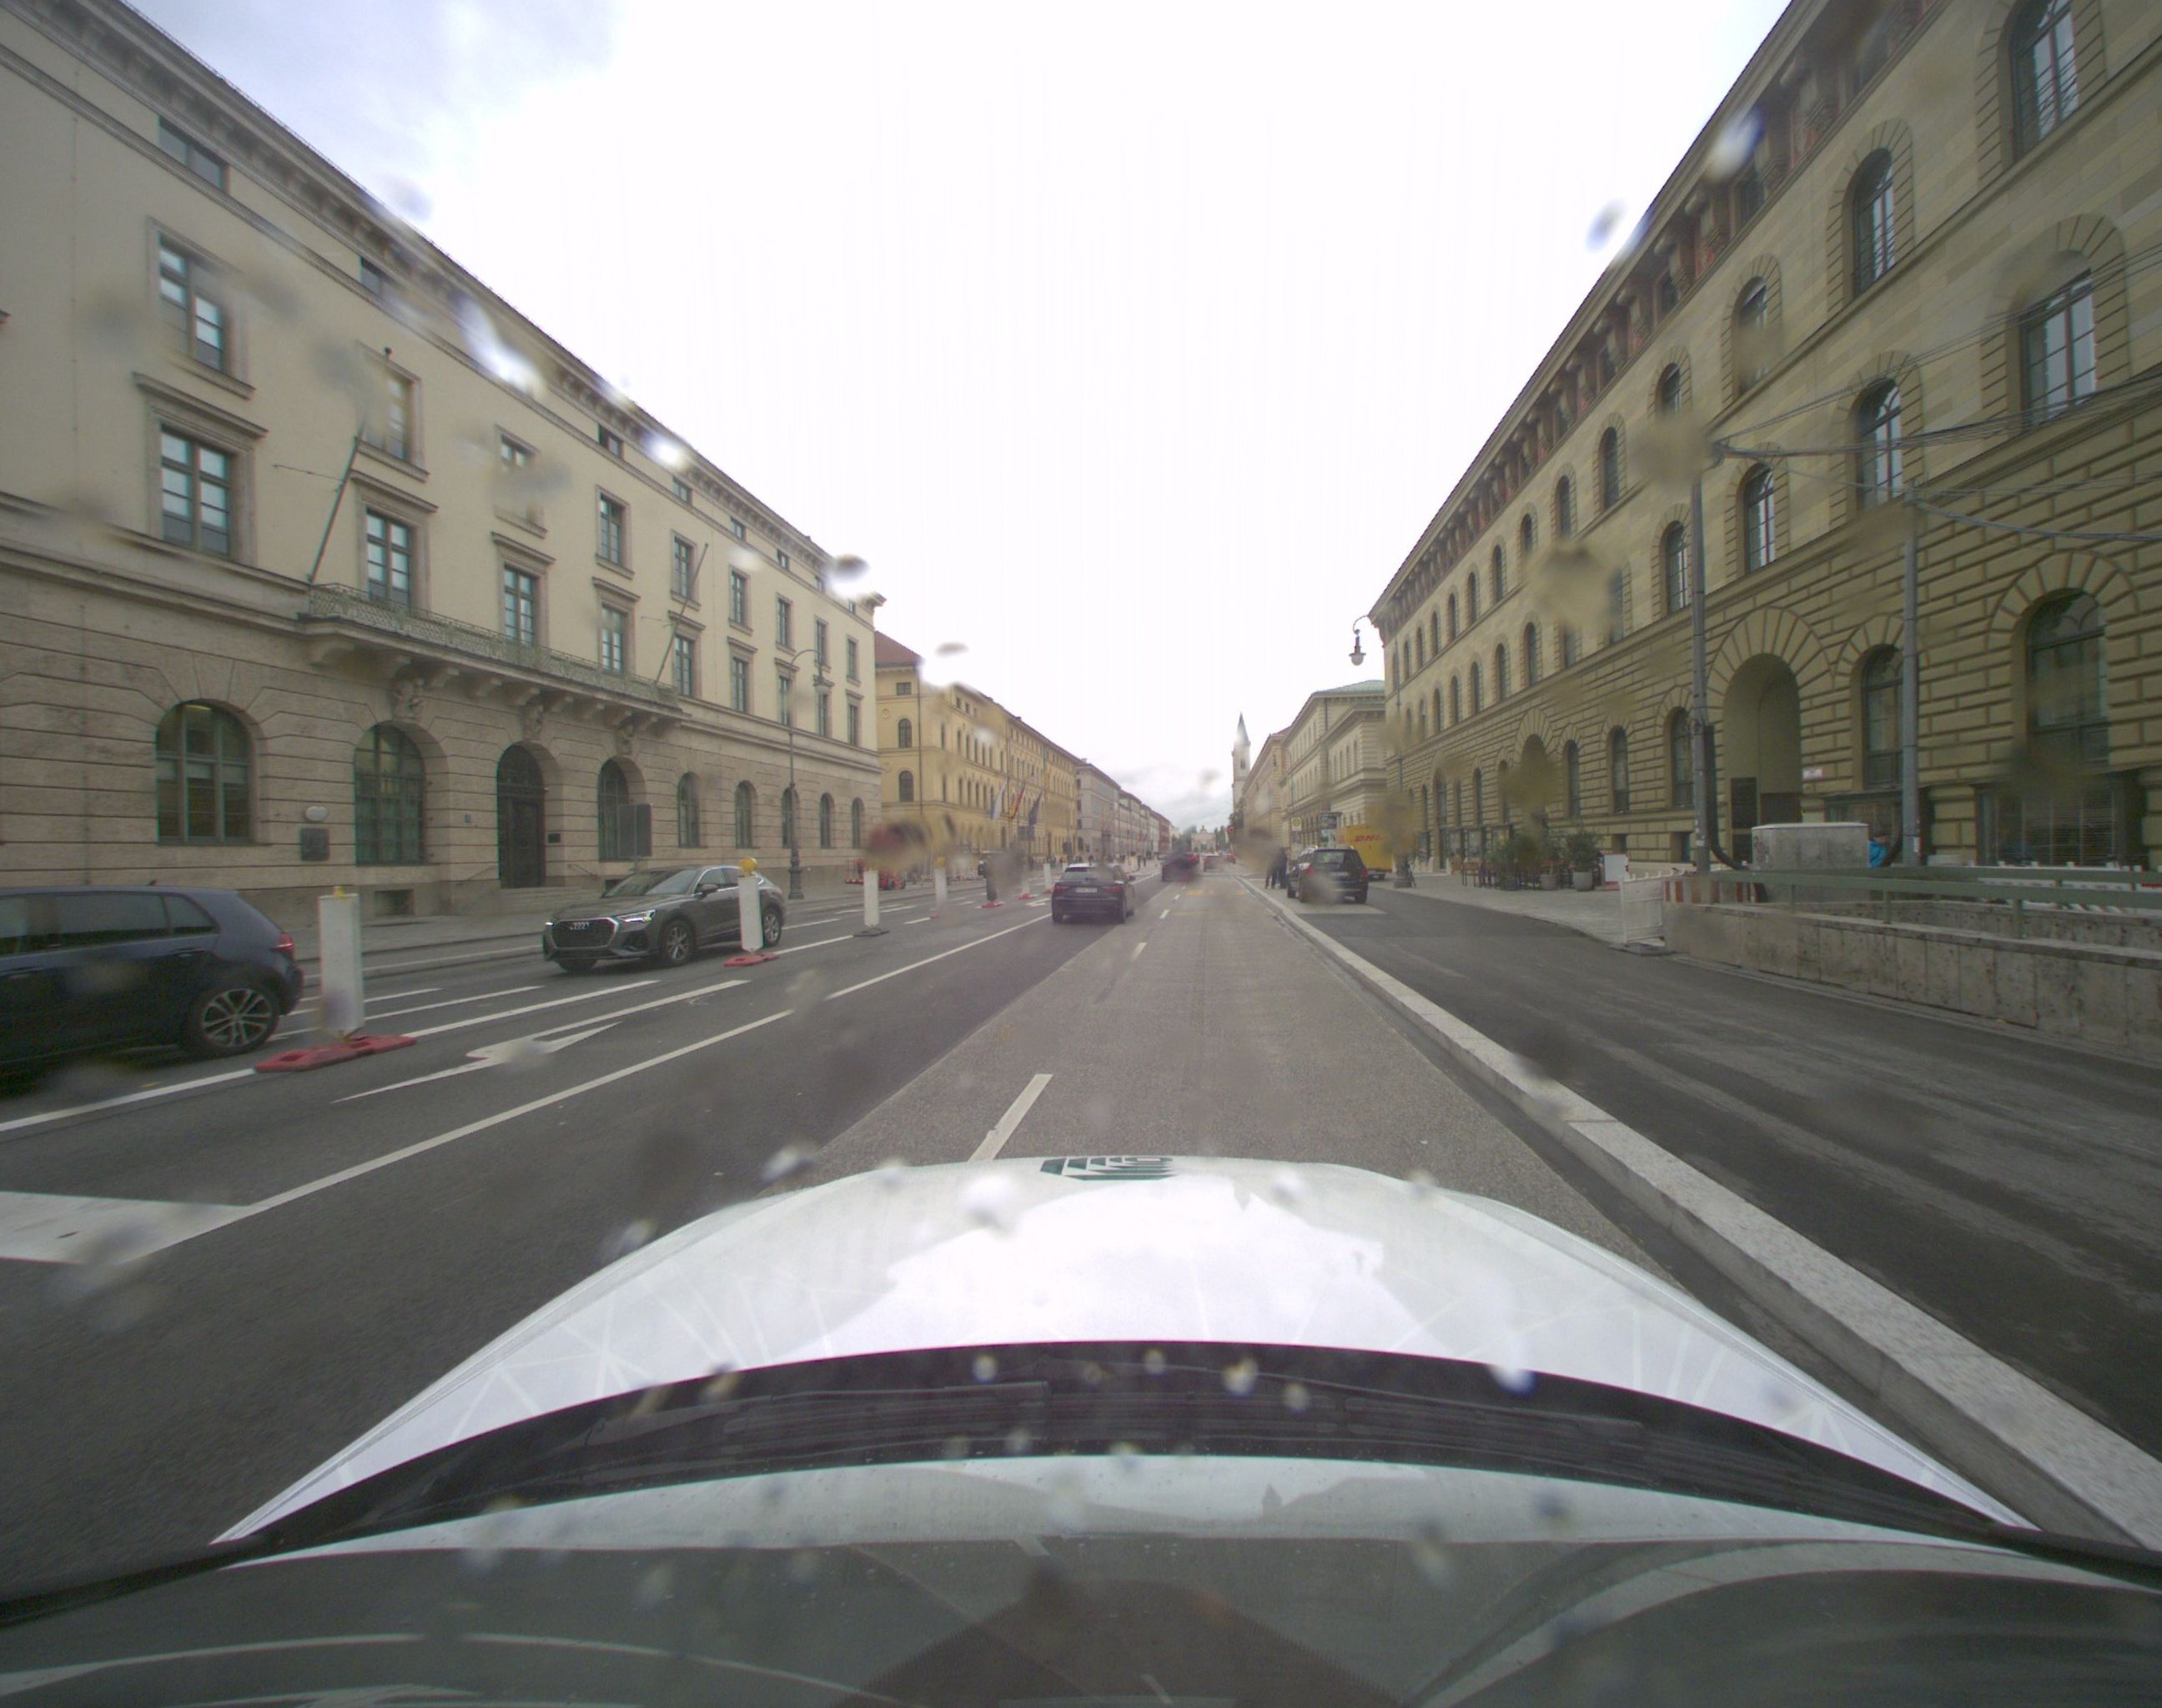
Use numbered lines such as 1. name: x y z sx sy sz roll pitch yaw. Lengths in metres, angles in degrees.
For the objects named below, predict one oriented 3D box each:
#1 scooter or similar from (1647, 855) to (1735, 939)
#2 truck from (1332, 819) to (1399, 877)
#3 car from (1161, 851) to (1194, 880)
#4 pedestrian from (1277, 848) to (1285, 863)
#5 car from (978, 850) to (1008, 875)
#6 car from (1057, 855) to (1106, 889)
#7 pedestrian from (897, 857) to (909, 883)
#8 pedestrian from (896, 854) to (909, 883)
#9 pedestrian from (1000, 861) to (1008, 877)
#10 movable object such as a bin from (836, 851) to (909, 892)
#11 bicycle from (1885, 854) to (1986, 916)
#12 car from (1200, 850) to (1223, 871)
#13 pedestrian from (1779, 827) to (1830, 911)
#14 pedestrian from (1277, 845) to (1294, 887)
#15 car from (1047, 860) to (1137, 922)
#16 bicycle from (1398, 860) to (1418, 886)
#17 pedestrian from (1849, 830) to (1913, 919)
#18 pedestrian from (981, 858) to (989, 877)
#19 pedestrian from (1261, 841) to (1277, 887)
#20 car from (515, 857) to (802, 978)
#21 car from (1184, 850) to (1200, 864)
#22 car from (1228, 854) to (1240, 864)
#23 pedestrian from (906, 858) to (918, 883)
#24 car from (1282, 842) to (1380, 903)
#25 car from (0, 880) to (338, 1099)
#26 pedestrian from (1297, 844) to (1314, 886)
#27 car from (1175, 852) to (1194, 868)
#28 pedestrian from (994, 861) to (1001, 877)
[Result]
1. scooter or similar: 9.658 0.676 12.896 1.135 1.250 0.297 -3 -1 -5
2. truck: 14.765 -0.223 42.598 2.604 2.765 5.826 -2 -1 13
3. car: 5.950 0.716 49.853 1.758 1.617 4.010 -1 -1 9
4. pedestrian: 22.406 0.179 91.289 0.793 1.690 0.802 -1 -1 9
5. car: -8.381 0.788 78.015 1.728 2.289 4.010 -1 -1 9
6. car: 0.078 0.901 40.815 1.758 1.617 4.010 -1 -1 9
7. pedestrian: -11.751 1.076 53.752 0.550 1.676 0.618 -1 -2 5
8. pedestrian: -12.416 1.013 56.777 0.676 1.931 0.653 -1 -2 5
9. pedestrian: -6.856 1.332 72.232 0.537 1.411 0.618 -1 -2 5
10. movable object such as a bin: -11.118 0.934 43.917 1.502 2.014 5.991 -1 -1 9
11. bicycle: 15.357 0.529 14.687 0.374 1.022 1.656 -1 0 12
12. car: 12.002 0.596 74.781 1.981 1.772 4.011 -2 0 9
13. pedestrian: 15.045 0.318 16.953 0.552 1.712 0.681 -2 -2 23
14. pedestrian: 8.360 0.485 33.300 0.611 1.702 0.543 -1 -2 12
15. car: 0.373 0.855 20.426 1.854 1.388 4.007 -1 0 6
16. bicycle: 13.018 0.747 32.463 0.514 1.022 1.657 -2 -1 16
17. pedestrian: 14.368 0.366 14.642 0.496 1.554 0.632 -1 -1 7
18. pedestrian: -7.991 1.112 67.832 0.550 1.530 0.618 -1 -2 5
19. pedestrian: 7.717 0.409 33.447 0.611 1.875 0.543 -1 -2 13
20. car: -6.622 0.892 13.495 1.775 1.567 4.587 -4 0 8
21. car: 14.687 0.434 107.845 1.981 1.772 4.011 -2 0 9
22. car: 25.116 0.822 133.899 1.848 1.579 4.010 -1 -1 9
23. pedestrian: -11.160 1.105 53.699 0.609 1.653 0.618 -1 -2 5
24. car: 7.409 0.510 24.541 2.058 1.662 4.230 -1 0 6
25. car: -7.945 0.946 5.418 1.734 1.388 4.250 -3 -1 8
26. pedestrian: 9.214 0.468 33.482 0.611 1.702 0.543 -1 -2 12
27. car: 12.039 0.734 94.654 1.981 1.772 4.011 -2 0 9
28. pedestrian: -7.430 1.322 72.331 0.537 1.406 0.618 -1 -2 5
